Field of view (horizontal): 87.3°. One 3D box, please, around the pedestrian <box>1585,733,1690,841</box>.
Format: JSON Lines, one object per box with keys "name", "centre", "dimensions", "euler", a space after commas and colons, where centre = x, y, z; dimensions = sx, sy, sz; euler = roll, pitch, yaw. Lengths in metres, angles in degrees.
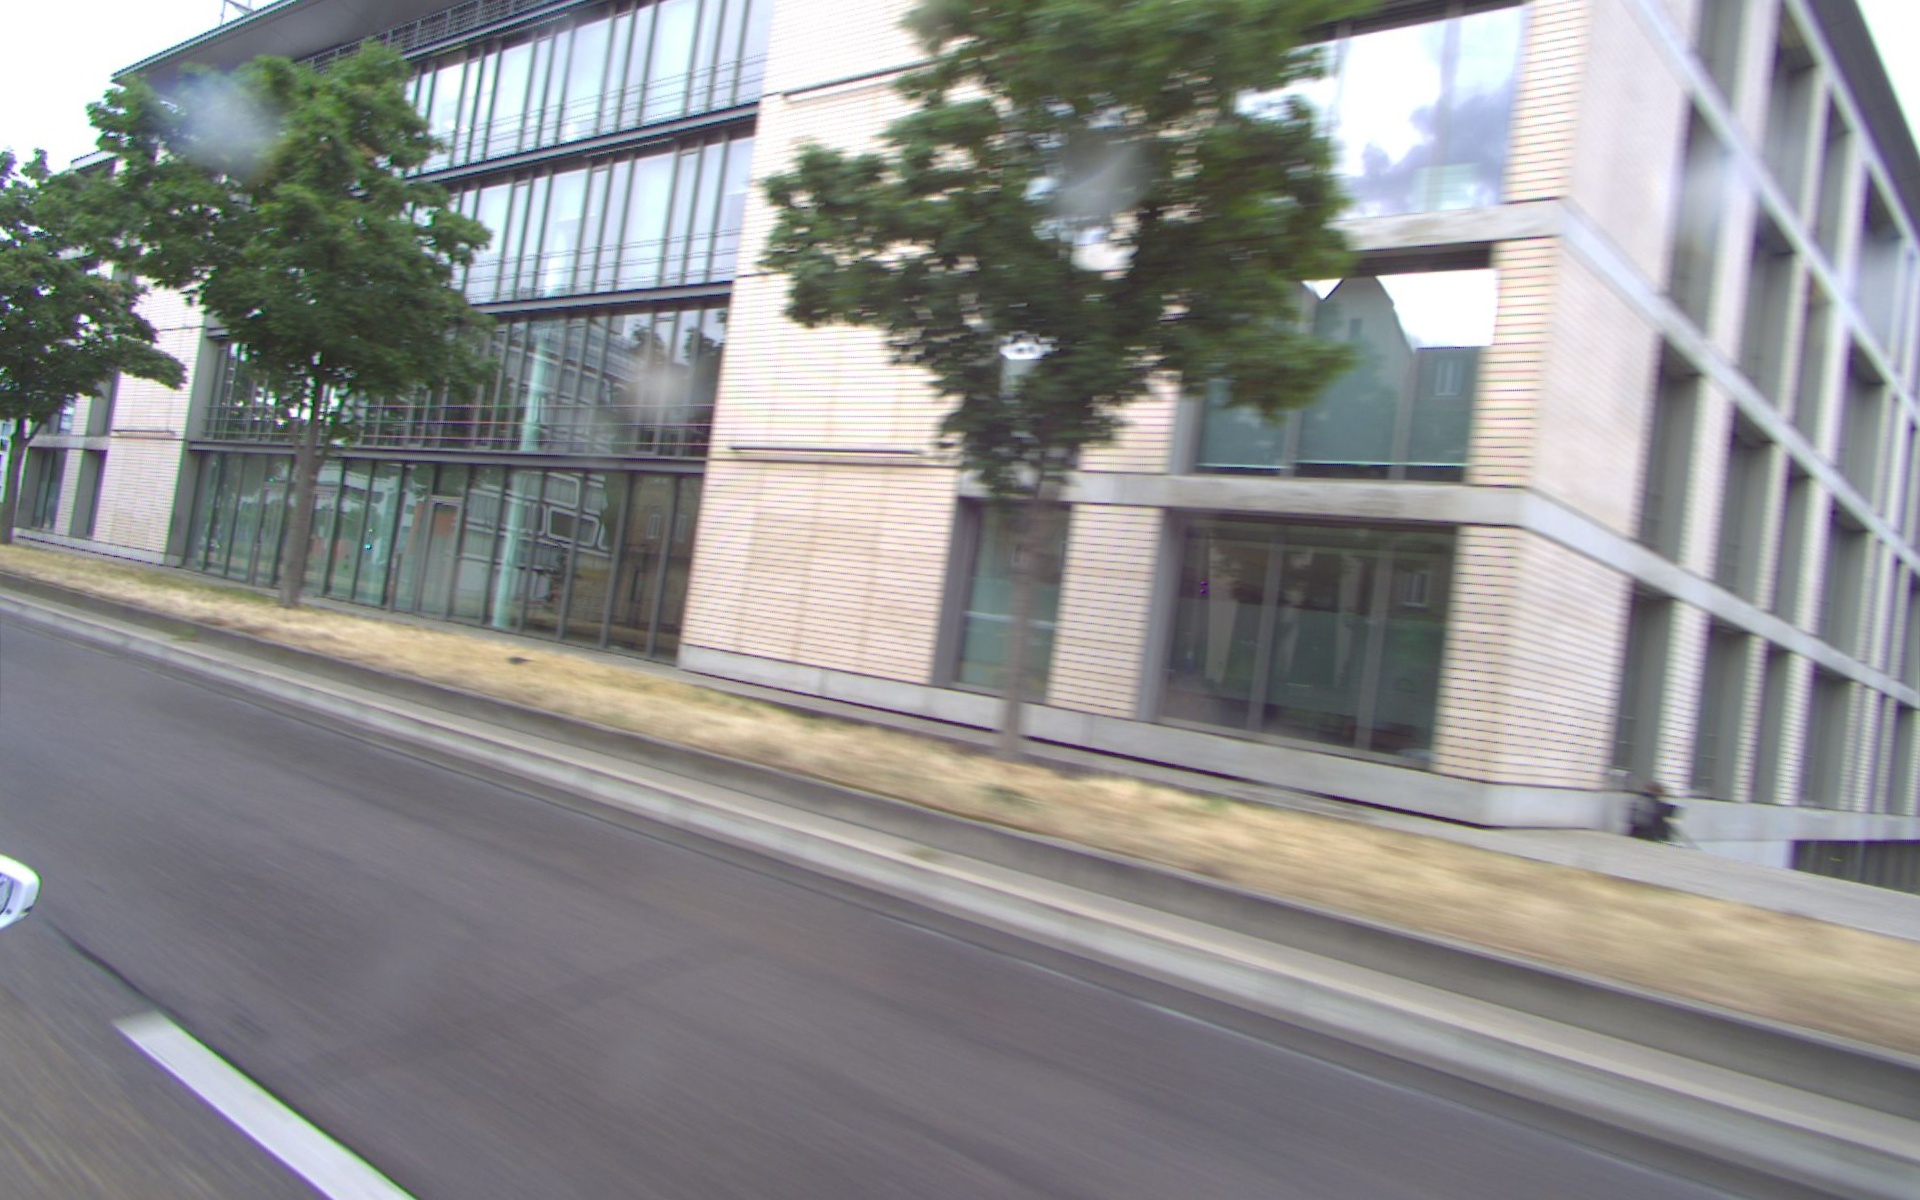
{"name": "pedestrian", "centre": [9.865, 2.708, 14.644], "dimensions": [0.872, 1.355, 0.958], "euler": [8, -1, -41]}
